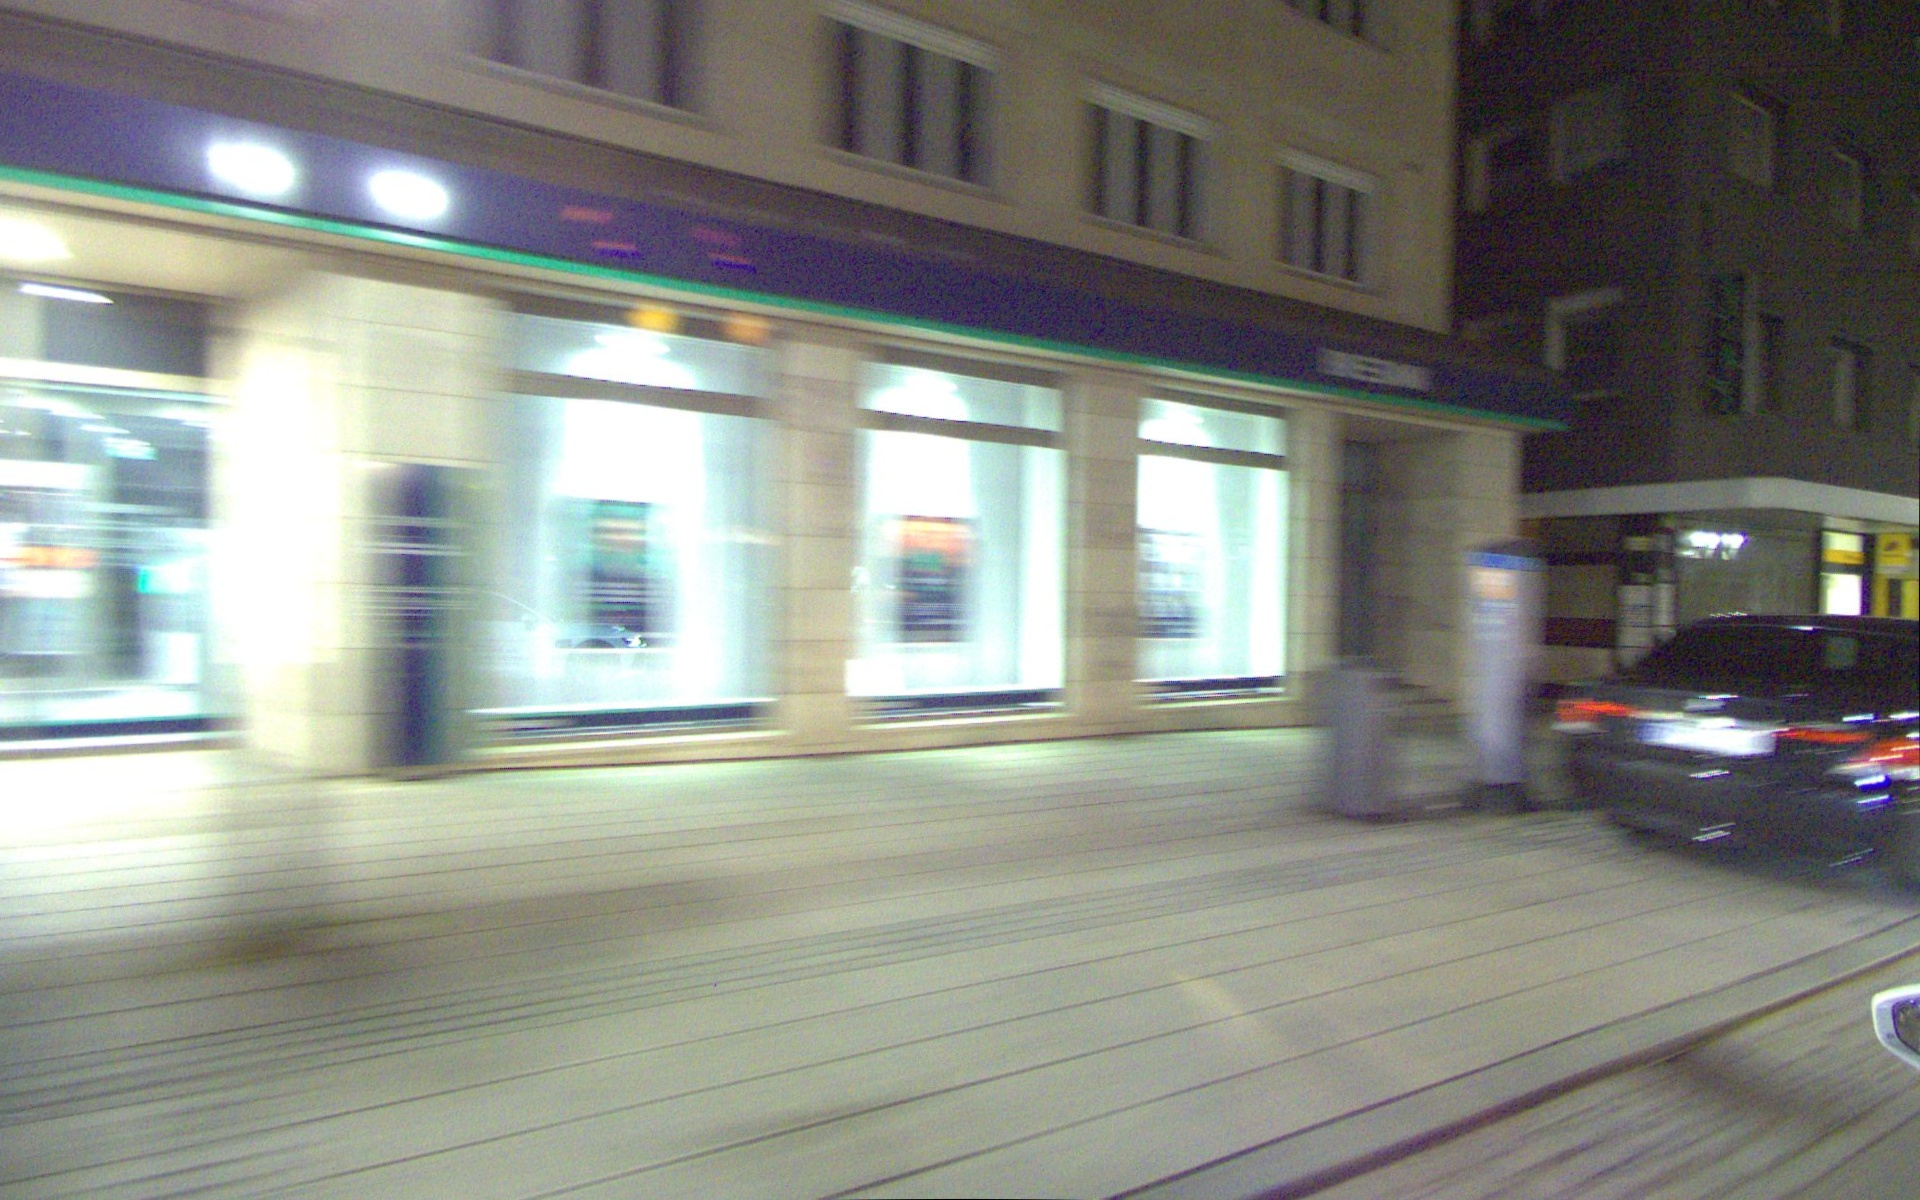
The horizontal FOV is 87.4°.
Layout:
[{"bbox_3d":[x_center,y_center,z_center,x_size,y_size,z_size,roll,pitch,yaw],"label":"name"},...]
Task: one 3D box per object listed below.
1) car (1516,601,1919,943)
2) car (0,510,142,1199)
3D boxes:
[{"bbox_3d":[5.838,0.826,6.539,4.571,1.484,1.835,1,2,-31],"label":"car"},{"bbox_3d":[-3.696,0.552,0.826,4.477,1.490,1.888,1,1,-34],"label":"car"}]
